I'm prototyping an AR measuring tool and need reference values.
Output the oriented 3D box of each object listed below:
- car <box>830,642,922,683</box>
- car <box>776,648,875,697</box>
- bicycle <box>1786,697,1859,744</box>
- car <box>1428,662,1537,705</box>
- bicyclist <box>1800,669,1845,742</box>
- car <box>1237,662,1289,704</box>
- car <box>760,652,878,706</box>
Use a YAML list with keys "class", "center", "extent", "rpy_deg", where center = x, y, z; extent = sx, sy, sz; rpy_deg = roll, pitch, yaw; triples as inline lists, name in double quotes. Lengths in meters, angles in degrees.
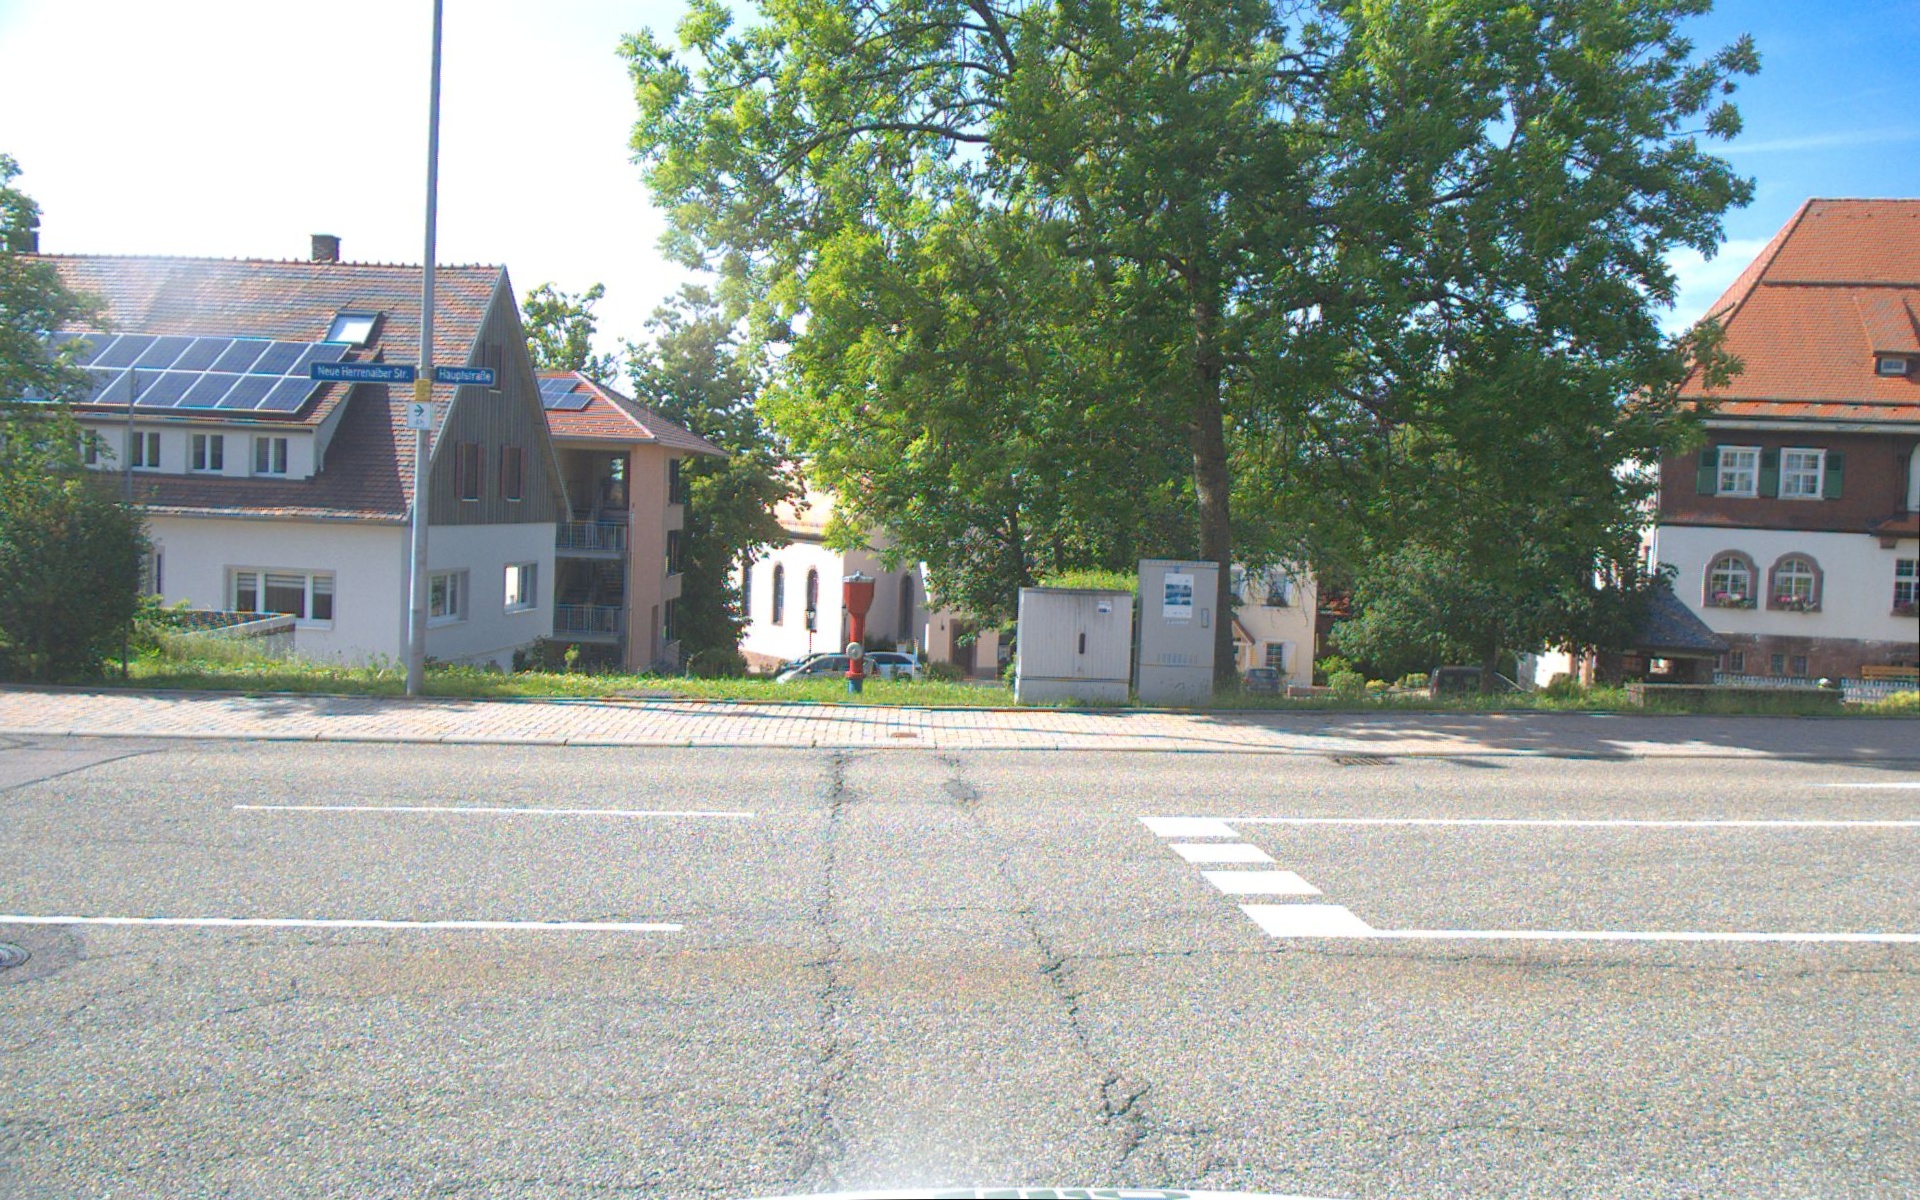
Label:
- class: "car"
  center: [-3.489, 2.580, 68.399]
  extent: [3.700, 1.621, 1.711]
  rpy_deg: [1, -1, -7]
- class: "car"
  center: [-5.172, 2.781, 63.349]
  extent: [3.700, 1.789, 1.711]
  rpy_deg: [1, -1, -7]
- class: "bicycle"
  center: [23.794, 3.329, 45.654]
  extent: [1.685, 1.211, 0.539]
  rpy_deg: [1, -1, 14]
- class: "car"
  center: [19.472, 3.106, 61.762]
  extent: [3.692, 1.470, 1.715]
  rpy_deg: [1, -1, 11]
- class: "bicyclist"
  center: [23.817, 2.902, 45.657]
  extent: [0.973, 1.959, 0.582]
  rpy_deg: [1, -1, 14]
- class: "car"
  center: [12.440, 3.390, 68.043]
  extent: [1.672, 1.569, 3.787]
  rpy_deg: [1, 0, 3]
- class: "car"
  center: [-4.902, 2.738, 57.529]
  extent: [4.011, 1.789, 1.711]
  rpy_deg: [1, -1, -6]
